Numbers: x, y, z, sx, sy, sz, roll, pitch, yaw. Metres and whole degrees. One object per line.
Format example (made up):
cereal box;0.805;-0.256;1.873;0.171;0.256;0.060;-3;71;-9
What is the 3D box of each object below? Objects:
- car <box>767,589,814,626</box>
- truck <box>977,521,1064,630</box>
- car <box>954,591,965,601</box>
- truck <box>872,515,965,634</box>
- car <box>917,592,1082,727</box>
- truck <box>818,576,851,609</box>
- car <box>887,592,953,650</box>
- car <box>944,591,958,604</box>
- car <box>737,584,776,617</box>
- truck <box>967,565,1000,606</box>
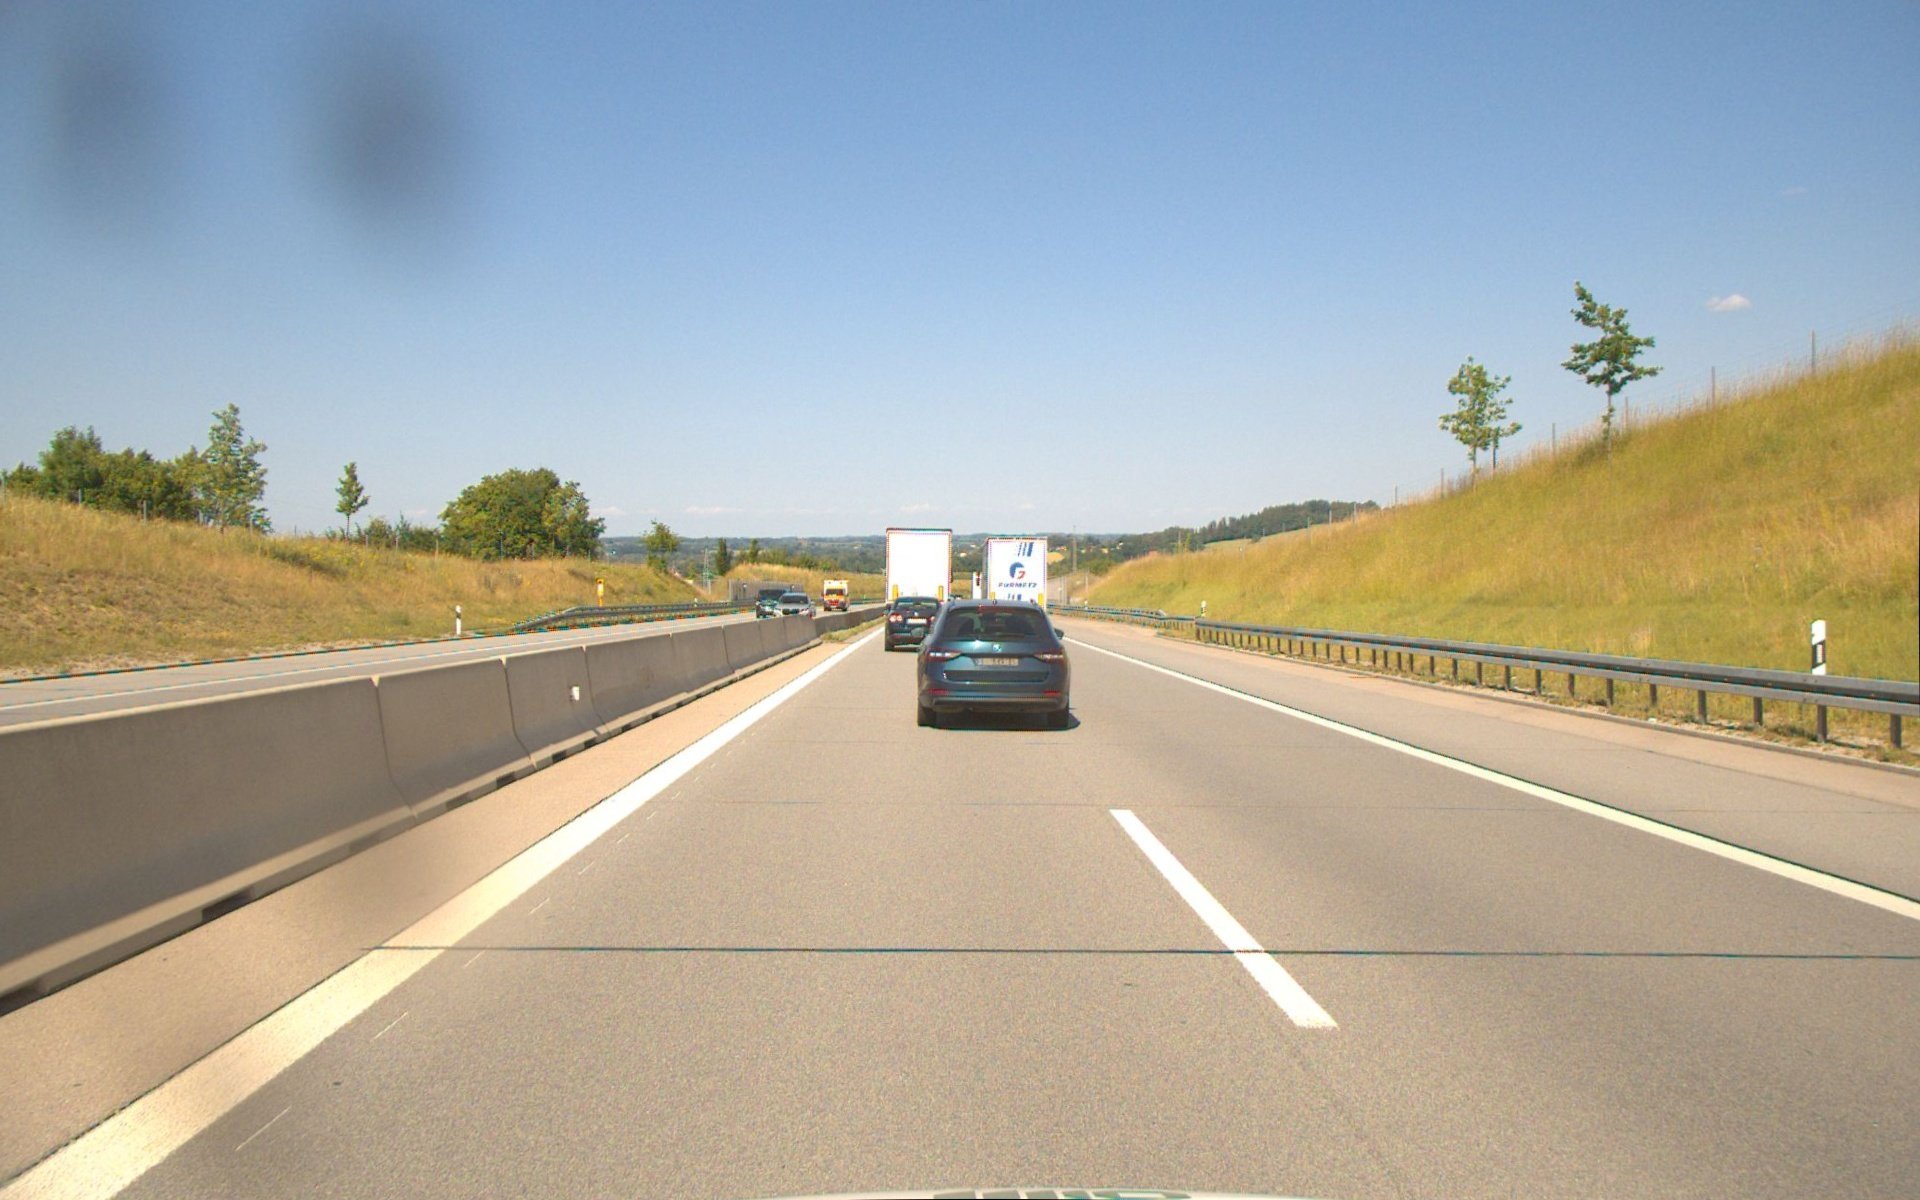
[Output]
car;-8.447;0.361;82.729;1.892;1.762;4.885;1;0;-1
truck;2.677;-1.079;75.496;3.530;4.457;11.235;-2;0;1
car;-0.089;-0.603;237.417;1.665;1.466;4.000;0;0;0
truck;-1.576;-1.032;69.214;3.144;4.457;11.236;-2;0;2
car;0.381;0.642;19.981;1.741;1.466;3.787;0;0;-2
truck;-11.928;-0.747;157.937;2.718;3.074;6.791;0;0;-1
car;-1.124;0.537;45.250;1.666;1.466;3.998;-2;0;-2
car;-1.084;-0.328;198.282;1.665;1.466;4.000;0;0;0
car;-12.989;0.008;105.959;1.953;2.049;4.969;1;0;-1
truck;2.743;-1.636;188.647;3.530;4.457;11.235;-2;0;1
